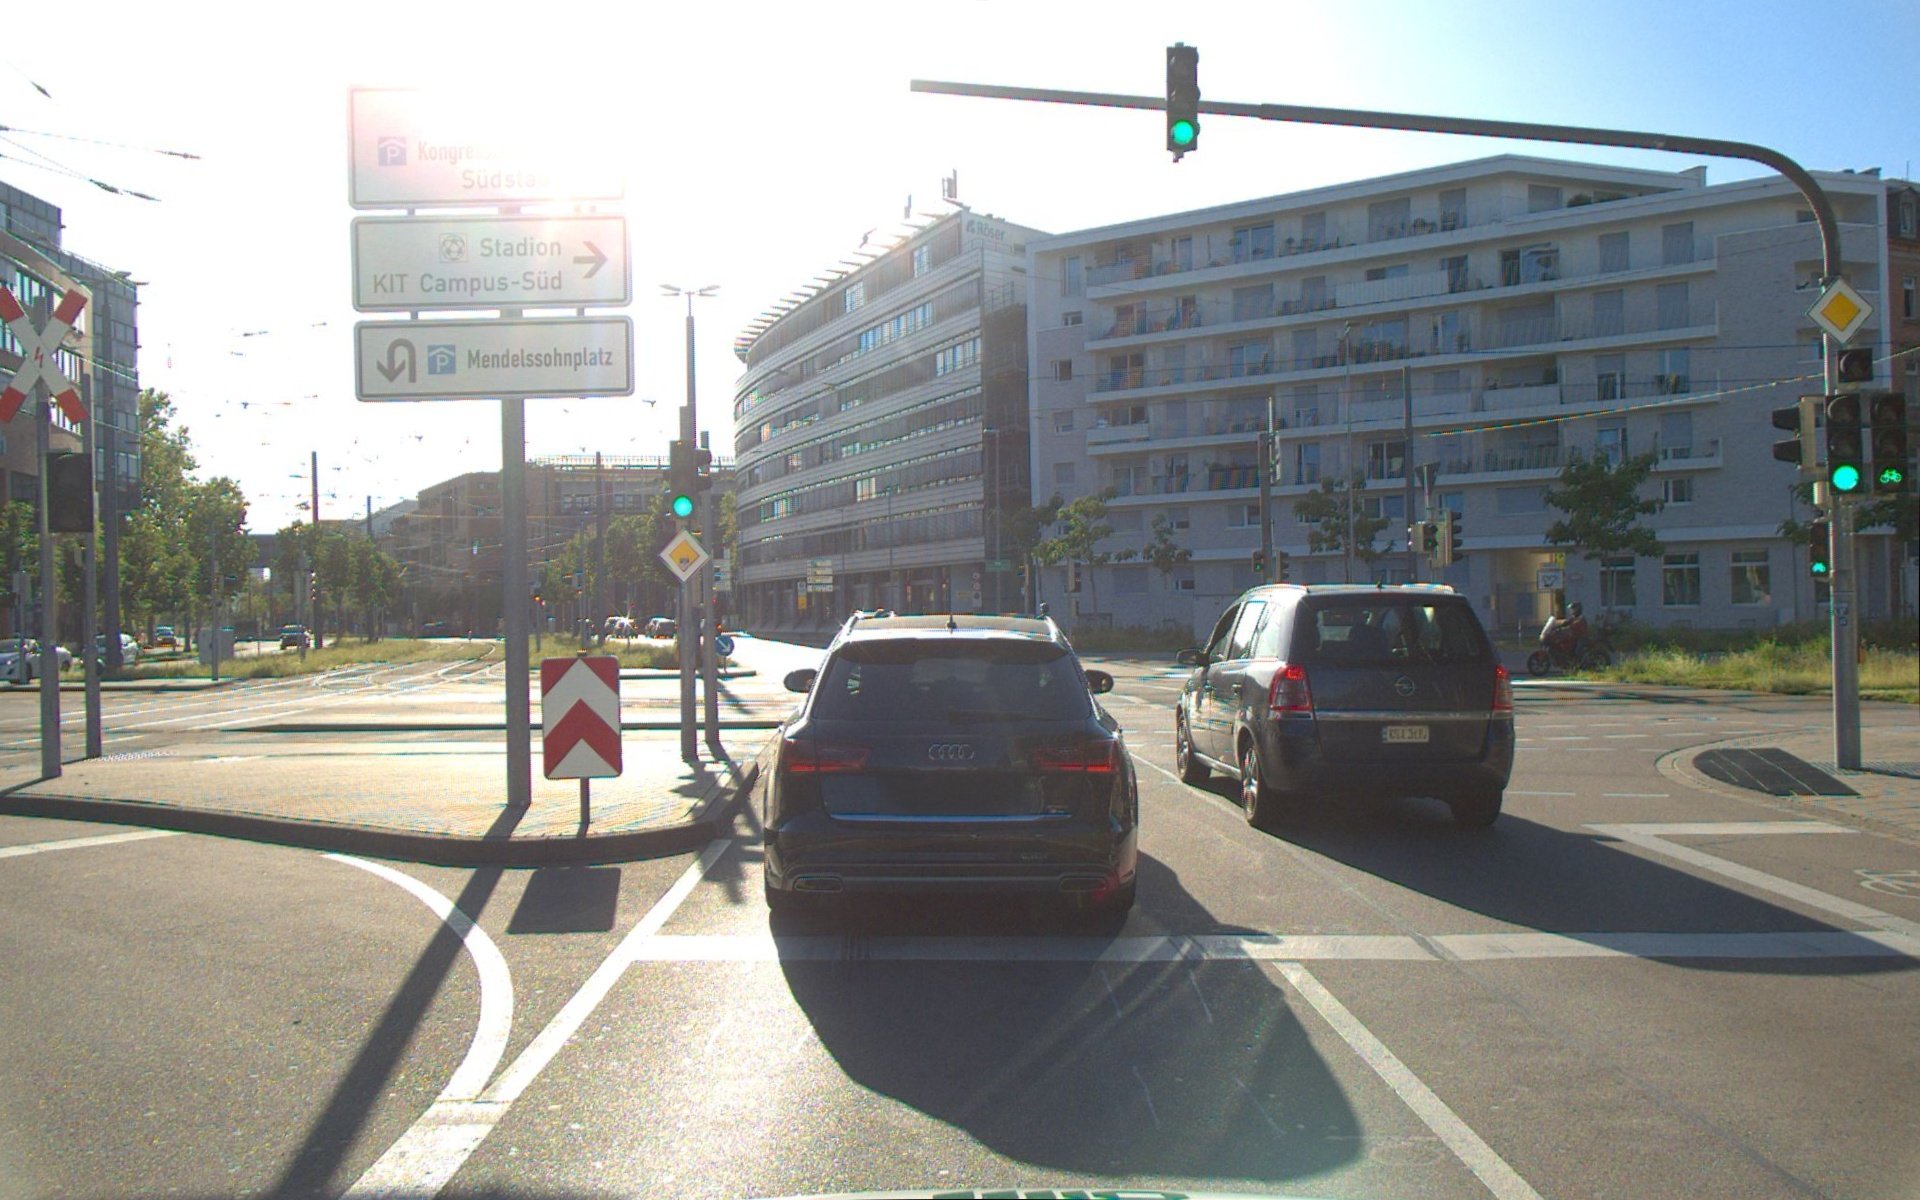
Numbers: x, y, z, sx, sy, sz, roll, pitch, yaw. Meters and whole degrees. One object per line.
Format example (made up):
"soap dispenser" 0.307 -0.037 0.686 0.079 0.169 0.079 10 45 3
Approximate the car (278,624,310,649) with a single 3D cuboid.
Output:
"car" -46.956 2.546 116.637 1.965 1.668 4.383 -1 -1 -21

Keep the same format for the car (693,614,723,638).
"car" -21.598 2.242 141.635 1.961 1.870 3.982 -2 -1 -16

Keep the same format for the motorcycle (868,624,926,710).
"motorcycle" -1.108 1.136 28.708 0.846 1.417 1.891 -1 -1 -7

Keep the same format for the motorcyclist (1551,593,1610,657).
"motorcyclist" 15.035 0.601 40.108 0.906 1.507 1.171 -1 -1 -3

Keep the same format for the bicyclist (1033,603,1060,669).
"bicyclist" 2.244 0.928 43.007 0.640 1.671 0.972 -1 0 2

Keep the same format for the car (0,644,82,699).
"car" -30.096 2.260 52.372 1.952 1.573 4.532 -1 0 3

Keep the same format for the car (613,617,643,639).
"car" -26.468 2.245 131.732 1.961 1.624 3.982 -2 -1 -16

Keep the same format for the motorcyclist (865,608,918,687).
"motorcyclist" -1.197 0.818 28.784 0.846 1.349 0.680 -1 -1 -7

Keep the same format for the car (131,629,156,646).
"car" -105.163 4.828 212.986 1.981 2.049 3.942 -2 0 -40

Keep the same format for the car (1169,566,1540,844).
"car" 2.754 0.686 12.535 1.710 1.726 4.259 1 -1 -1

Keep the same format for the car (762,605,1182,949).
"car" 0.017 0.772 9.140 1.805 1.479 3.999 0 0 -1

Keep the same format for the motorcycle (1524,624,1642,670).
"motorcycle" 15.094 1.128 40.105 2.404 1.018 1.171 -1 -1 -4

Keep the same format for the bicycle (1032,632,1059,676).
"bicycle" 2.215 1.392 43.004 0.640 1.061 1.930 -1 0 2

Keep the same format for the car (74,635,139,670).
"car" -38.340 2.345 74.405 1.864 1.431 3.980 -2 0 -17

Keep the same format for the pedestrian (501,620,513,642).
"pedestrian" -39.462 2.718 144.130 0.888 1.856 0.825 -2 -2 -18

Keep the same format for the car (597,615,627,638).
"car" -28.926 2.230 137.395 1.963 1.736 3.978 -2 -1 -19

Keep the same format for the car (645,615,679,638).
"car" -23.323 2.083 129.222 1.964 1.624 3.977 -2 -1 -19

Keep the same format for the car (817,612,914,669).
"car" -3.100 1.279 53.644 1.974 1.745 4.346 0 0 -20

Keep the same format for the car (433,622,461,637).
"car" -60.949 3.539 196.525 1.977 1.669 4.358 -1 -1 -34

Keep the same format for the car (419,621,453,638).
"car" -55.772 3.110 176.230 1.951 1.736 4.002 -2 -1 6
